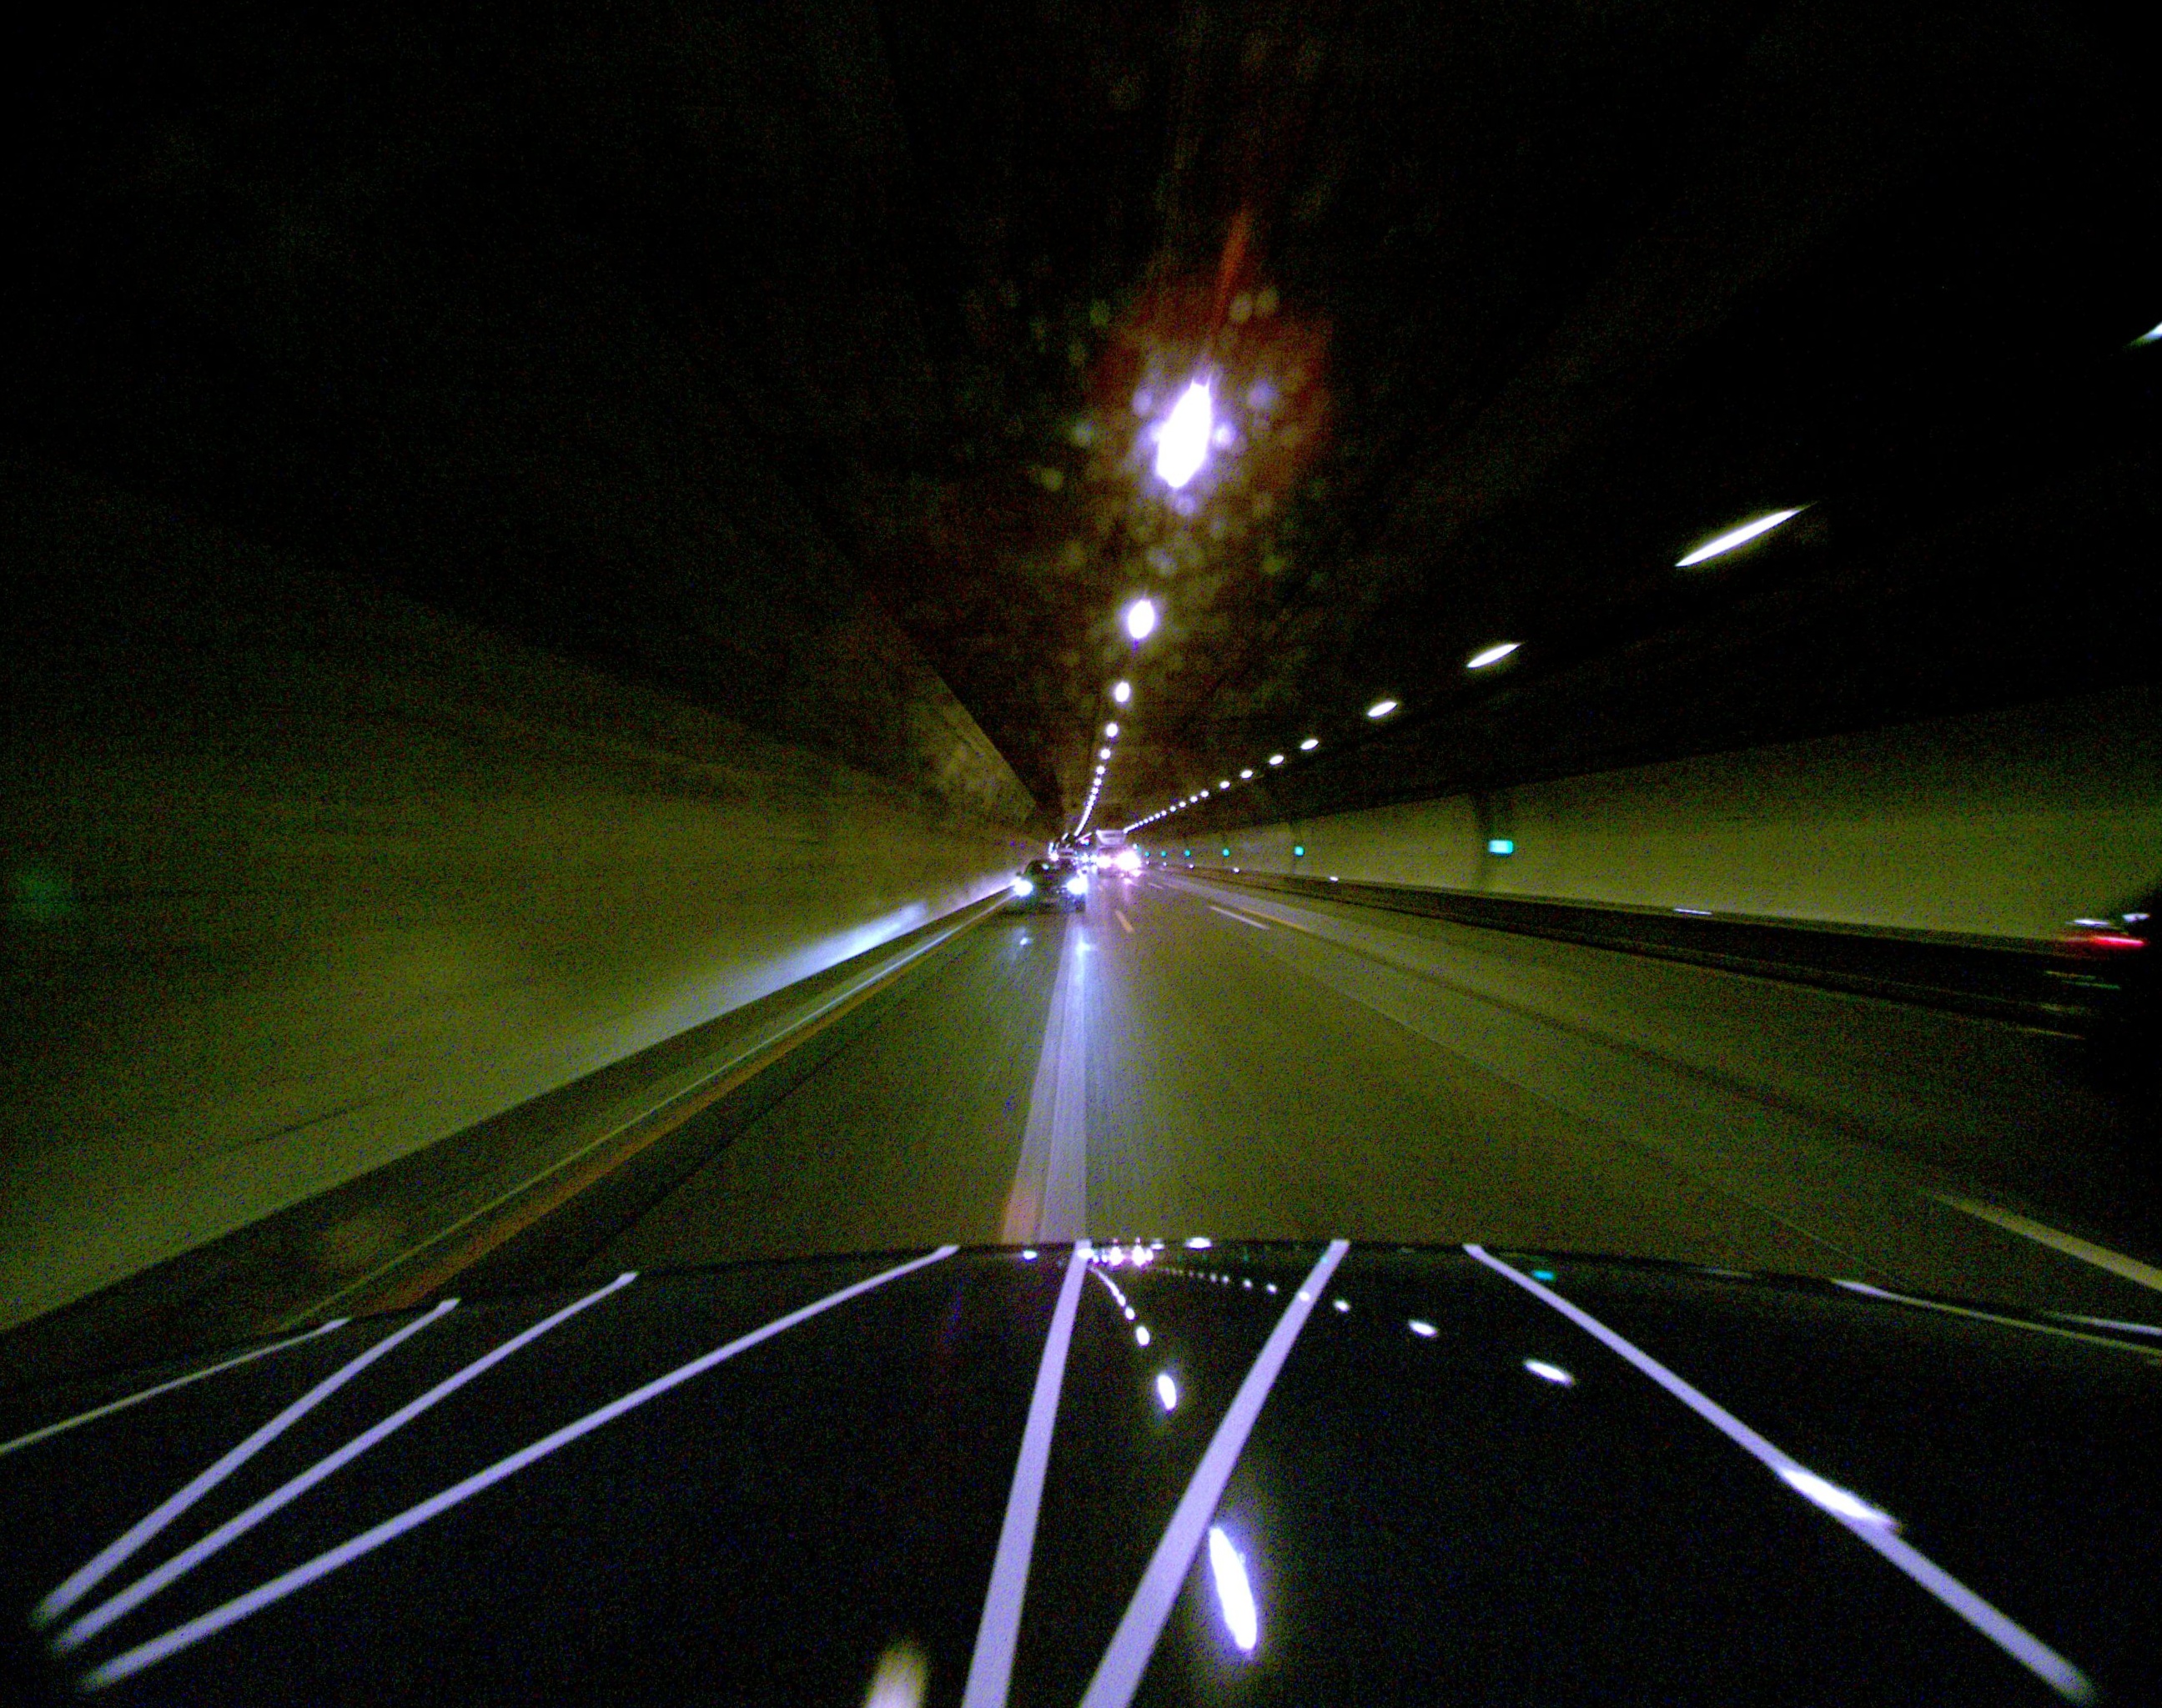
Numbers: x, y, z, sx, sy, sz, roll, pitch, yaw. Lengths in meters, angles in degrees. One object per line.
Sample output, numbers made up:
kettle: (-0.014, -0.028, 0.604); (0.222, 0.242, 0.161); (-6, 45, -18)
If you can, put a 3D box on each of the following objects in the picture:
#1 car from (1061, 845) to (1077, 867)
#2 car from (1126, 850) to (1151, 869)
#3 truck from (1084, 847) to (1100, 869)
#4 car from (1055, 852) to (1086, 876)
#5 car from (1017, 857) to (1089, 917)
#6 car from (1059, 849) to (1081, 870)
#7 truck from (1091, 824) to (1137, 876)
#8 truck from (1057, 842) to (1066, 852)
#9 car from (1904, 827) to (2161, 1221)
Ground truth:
car: (-1.644, 0.220, 100.991); (1.999, 2.710, 6.272); (-2, 1, -2)
car: (5.295, 0.491, 70.499); (1.998, 1.531, 4.851); (-2, 1, 2)
truck: (1.605, 0.508, 109.892); (2.162, 3.098, 6.030); (-2, 1, 1)
car: (-0.804, 0.660, 52.753); (1.999, 1.531, 4.741); (-2, 1, -2)
car: (-0.809, 0.877, 22.137); (1.826, 1.469, 4.520); (-2, 0, -2)
car: (-1.181, 0.570, 80.151); (1.999, 2.002, 4.852); (-2, 0, -3)
truck: (2.225, -0.249, 53.590); (2.534, 3.314, 7.714); (-2, 0, -2)
truck: (-6.661, -2.282, 262.548); (2.208, 3.449, 11.765); (-1, 0, 2)
car: (5.218, 0.662, 1.527); (1.998, 1.531, 4.742); (-2, 1, 0)
